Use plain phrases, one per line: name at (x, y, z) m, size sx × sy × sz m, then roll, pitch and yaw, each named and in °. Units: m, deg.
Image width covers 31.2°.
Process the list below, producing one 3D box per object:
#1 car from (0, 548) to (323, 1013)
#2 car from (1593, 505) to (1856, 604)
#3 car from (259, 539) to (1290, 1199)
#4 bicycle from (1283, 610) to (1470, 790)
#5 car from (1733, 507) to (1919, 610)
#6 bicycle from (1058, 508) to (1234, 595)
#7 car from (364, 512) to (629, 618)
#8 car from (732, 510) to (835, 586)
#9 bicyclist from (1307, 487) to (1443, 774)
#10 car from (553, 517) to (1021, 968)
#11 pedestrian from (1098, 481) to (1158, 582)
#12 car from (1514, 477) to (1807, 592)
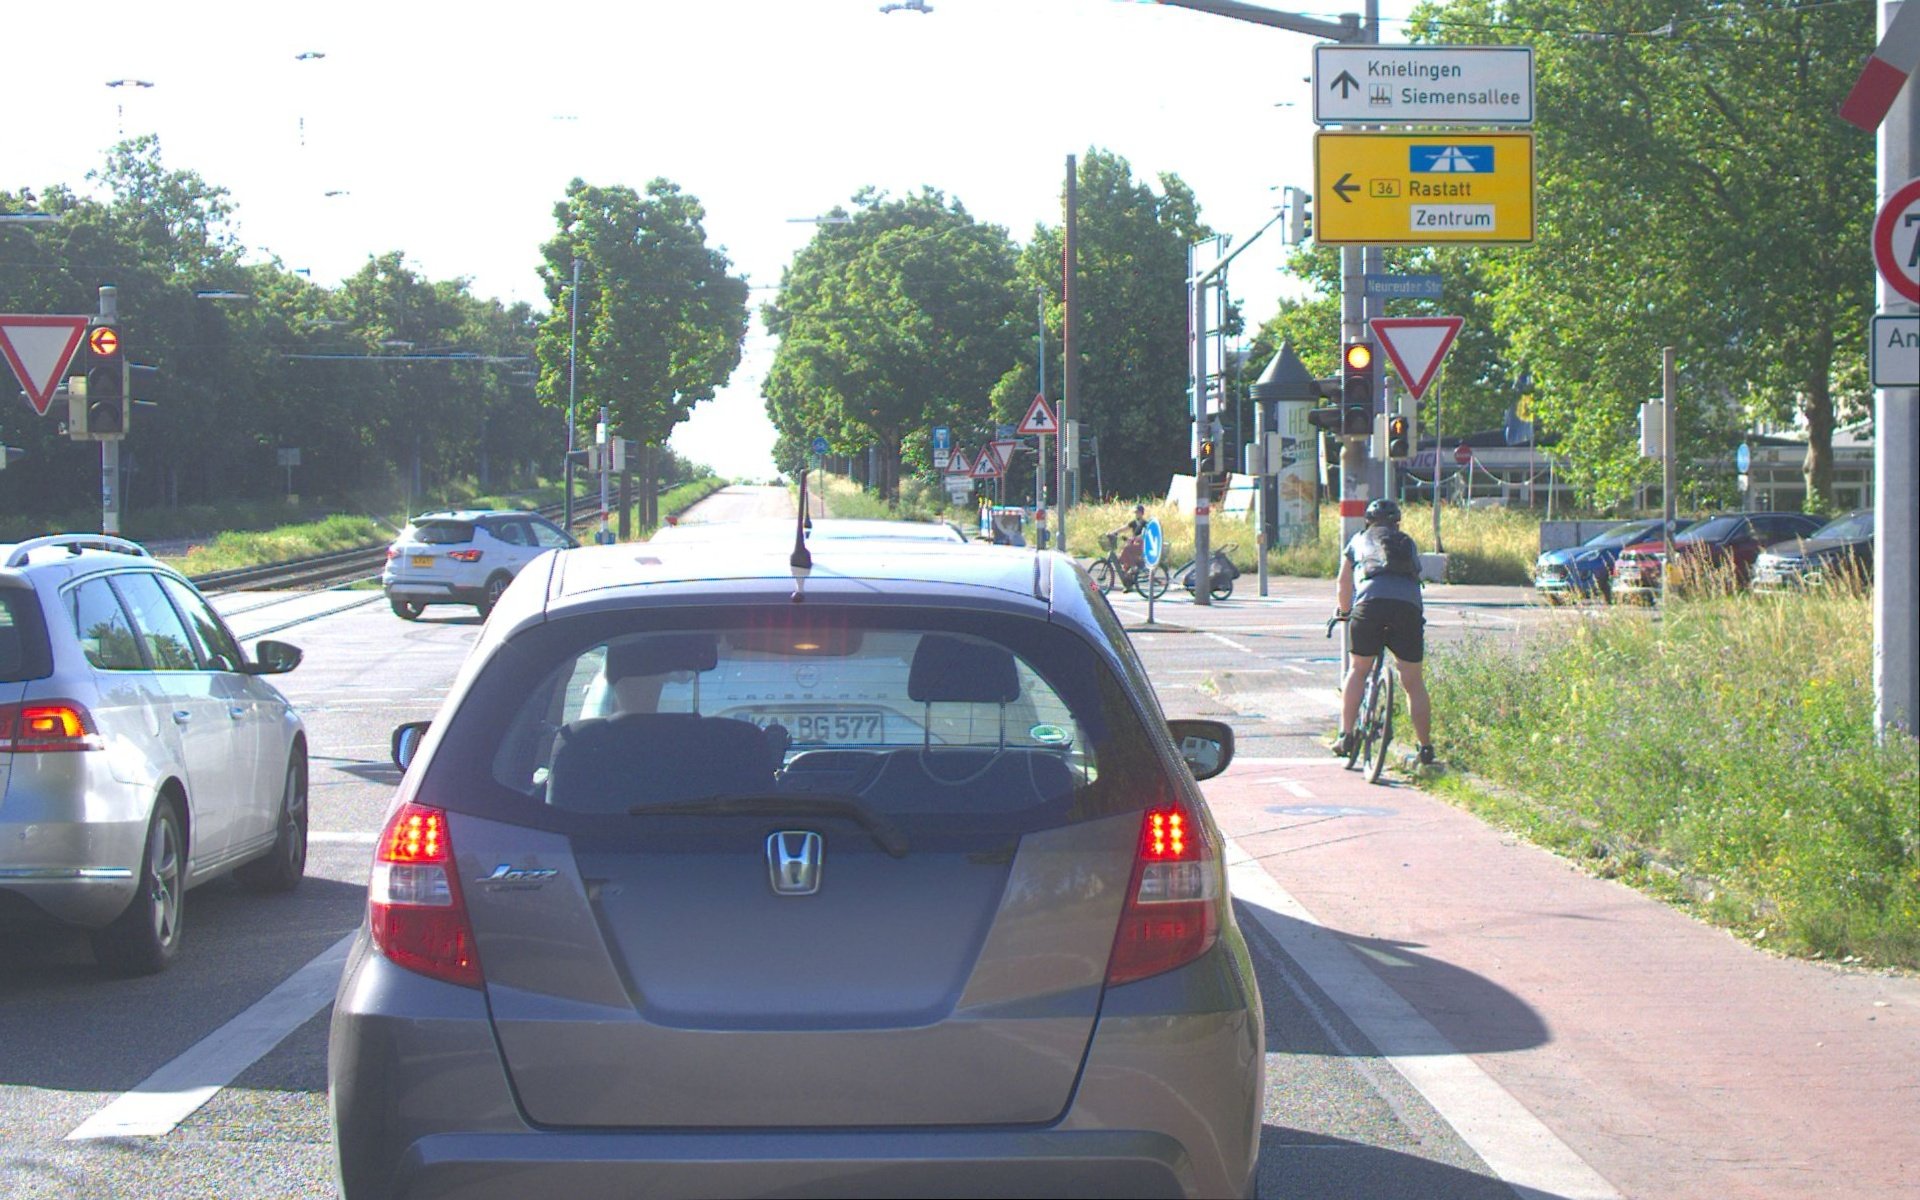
car at (-3.526, 0.534, 12.793) m, size 1.619 × 1.452 × 4.085 m, roll 1°, pitch 1°, yaw -1°
car at (12.455, -0.761, 55.984) m, size 3.986 × 1.525 × 1.606 m, roll -1°, pitch 1°, yaw -23°
car at (-0.388, 0.604, 7.376) m, size 1.668 × 1.457 × 3.587 m, roll 0°, pitch 1°, yaw -3°
bicycle at (2.535, 0.582, 21.264) m, size 0.722 × 0.985 × 2.876 m, roll 1°, pitch 1°, yaw -1°
car at (14.045, -0.660, 53.029) m, size 3.970 × 1.539 × 1.593 m, roll -1°, pitch 1°, yaw -24°
bicycle at (3.425, -0.904, 63.197) m, size 3.203 × 1.569 × 0.821 m, roll -1°, pitch 1°, yaw -23°
car at (-6.657, -0.534, 49.763) m, size 1.713 × 1.473 × 3.993 m, roll 0°, pitch 1°, yaw 30°
car at (-3.274, -0.975, 64.299) m, size 1.523 × 1.374 × 3.676 m, roll 0°, pitch 1°, yaw 3°
bicyclist at (2.546, 0.178, 21.179) m, size 0.666 × 1.710 × 0.948 m, roll 1°, pitch 0°, yaw -1°
car at (-0.642, 0.454, 14.011) m, size 1.611 × 1.557 × 4.288 m, roll 0°, pitch 1°, yaw -1°
pedestrian at (3.081, -1.260, 63.096) m, size 0.852 × 1.830 × 0.791 m, roll -1°, pitch 1°, yaw -22°
car at (12.283, -1.129, 60.267) m, size 4.686 × 1.873 × 2.001 m, roll 1°, pitch 1°, yaw -23°
